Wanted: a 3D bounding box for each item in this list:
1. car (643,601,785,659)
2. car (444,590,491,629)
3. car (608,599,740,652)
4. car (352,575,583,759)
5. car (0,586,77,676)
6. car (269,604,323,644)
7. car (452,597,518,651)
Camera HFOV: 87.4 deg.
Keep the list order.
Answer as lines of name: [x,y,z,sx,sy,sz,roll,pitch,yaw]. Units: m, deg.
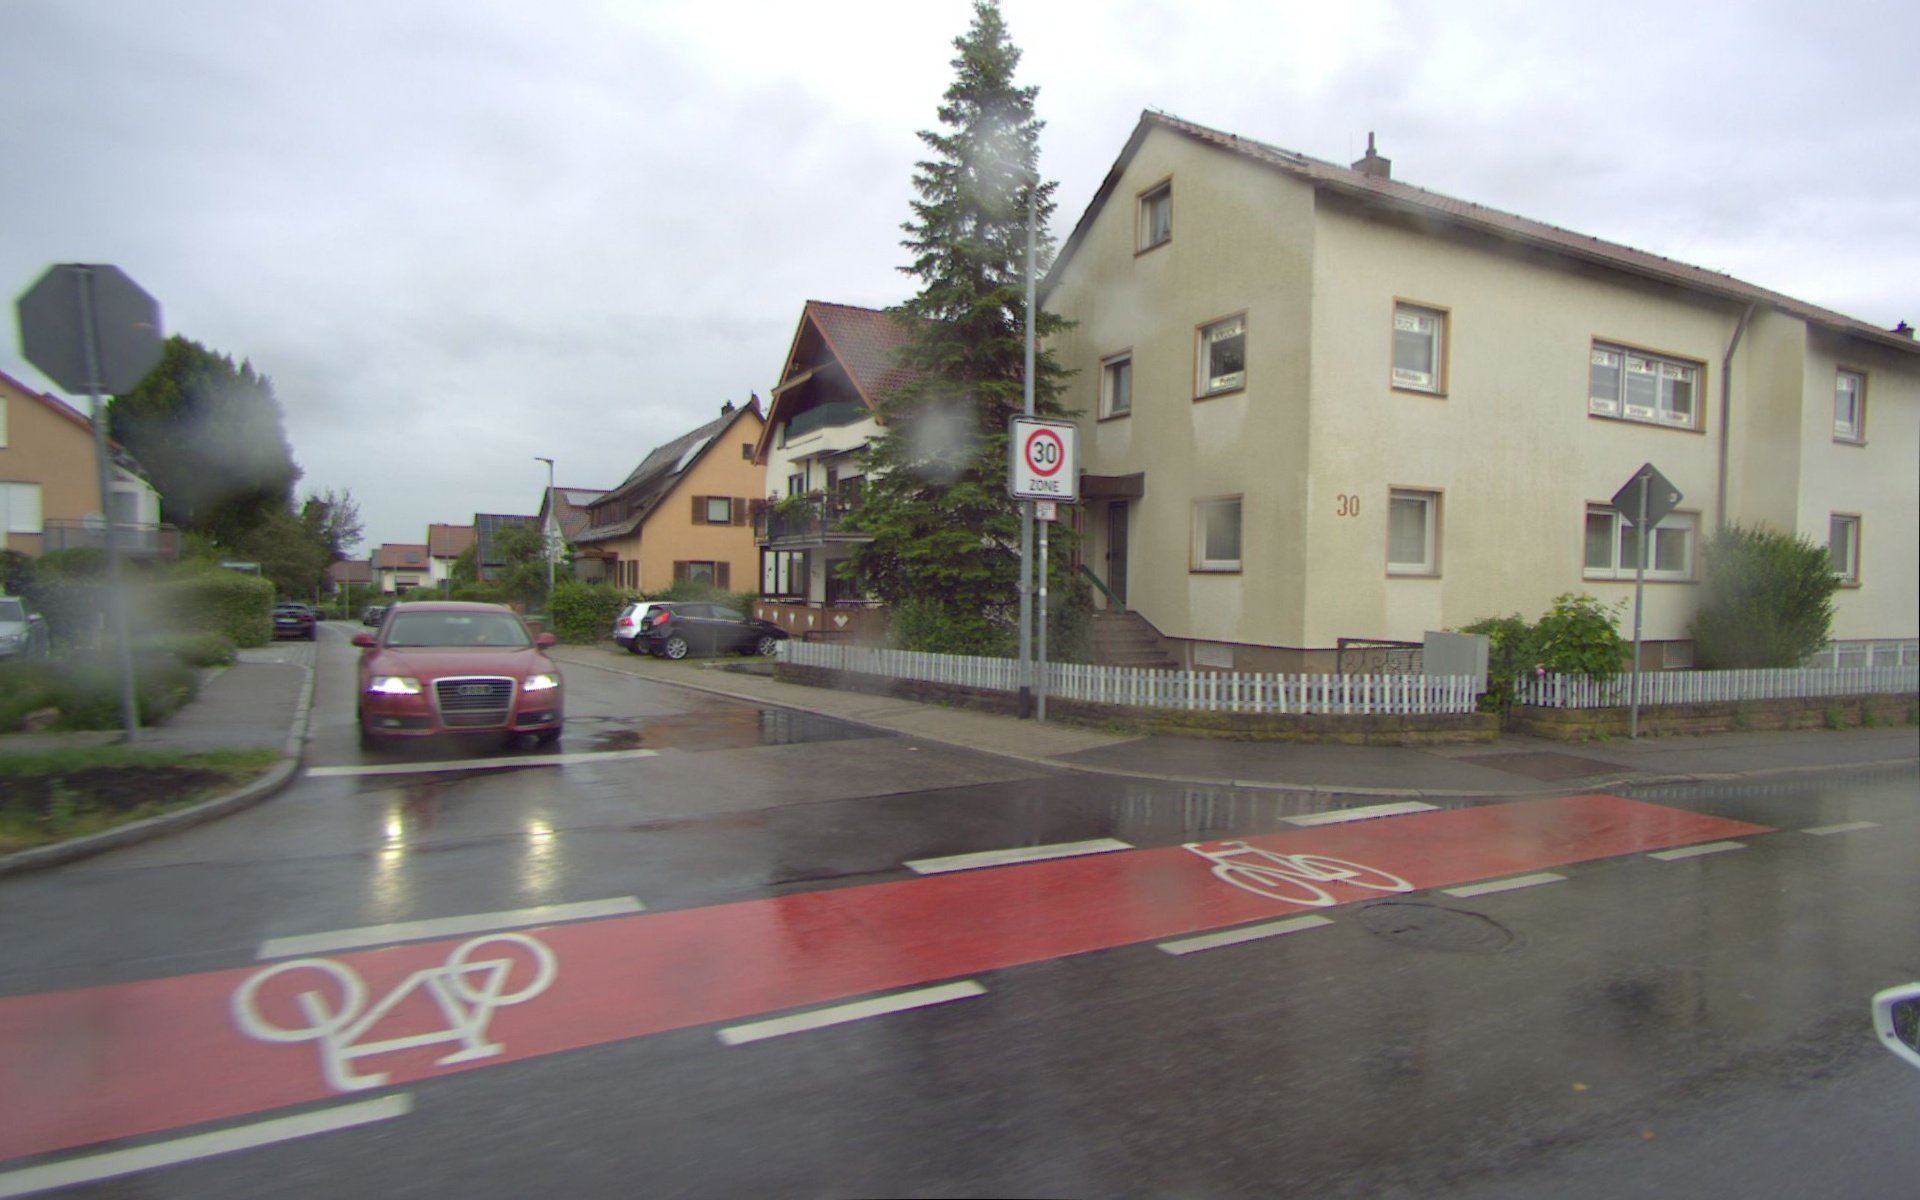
car: [-6.482,0.744,26.514,3.356,1.363,1.534,-1,2,-30]
car: [-21.600,0.395,44.169,1.671,1.462,3.975,-1,3,-24]
car: [-8.153,0.695,28.684,3.356,1.363,1.505,-1,2,-30]
car: [-5.476,0.603,11.155,1.851,1.588,4.624,1,-1,-28]
car: [-19.057,0.549,19.801,1.728,1.513,3.930,-1,3,-31]
car: [-25.297,0.894,38.259,1.253,1.363,2.905,-2,2,-43]
car: [-15.555,0.737,33.046,1.857,1.462,3.975,-1,3,-24]
